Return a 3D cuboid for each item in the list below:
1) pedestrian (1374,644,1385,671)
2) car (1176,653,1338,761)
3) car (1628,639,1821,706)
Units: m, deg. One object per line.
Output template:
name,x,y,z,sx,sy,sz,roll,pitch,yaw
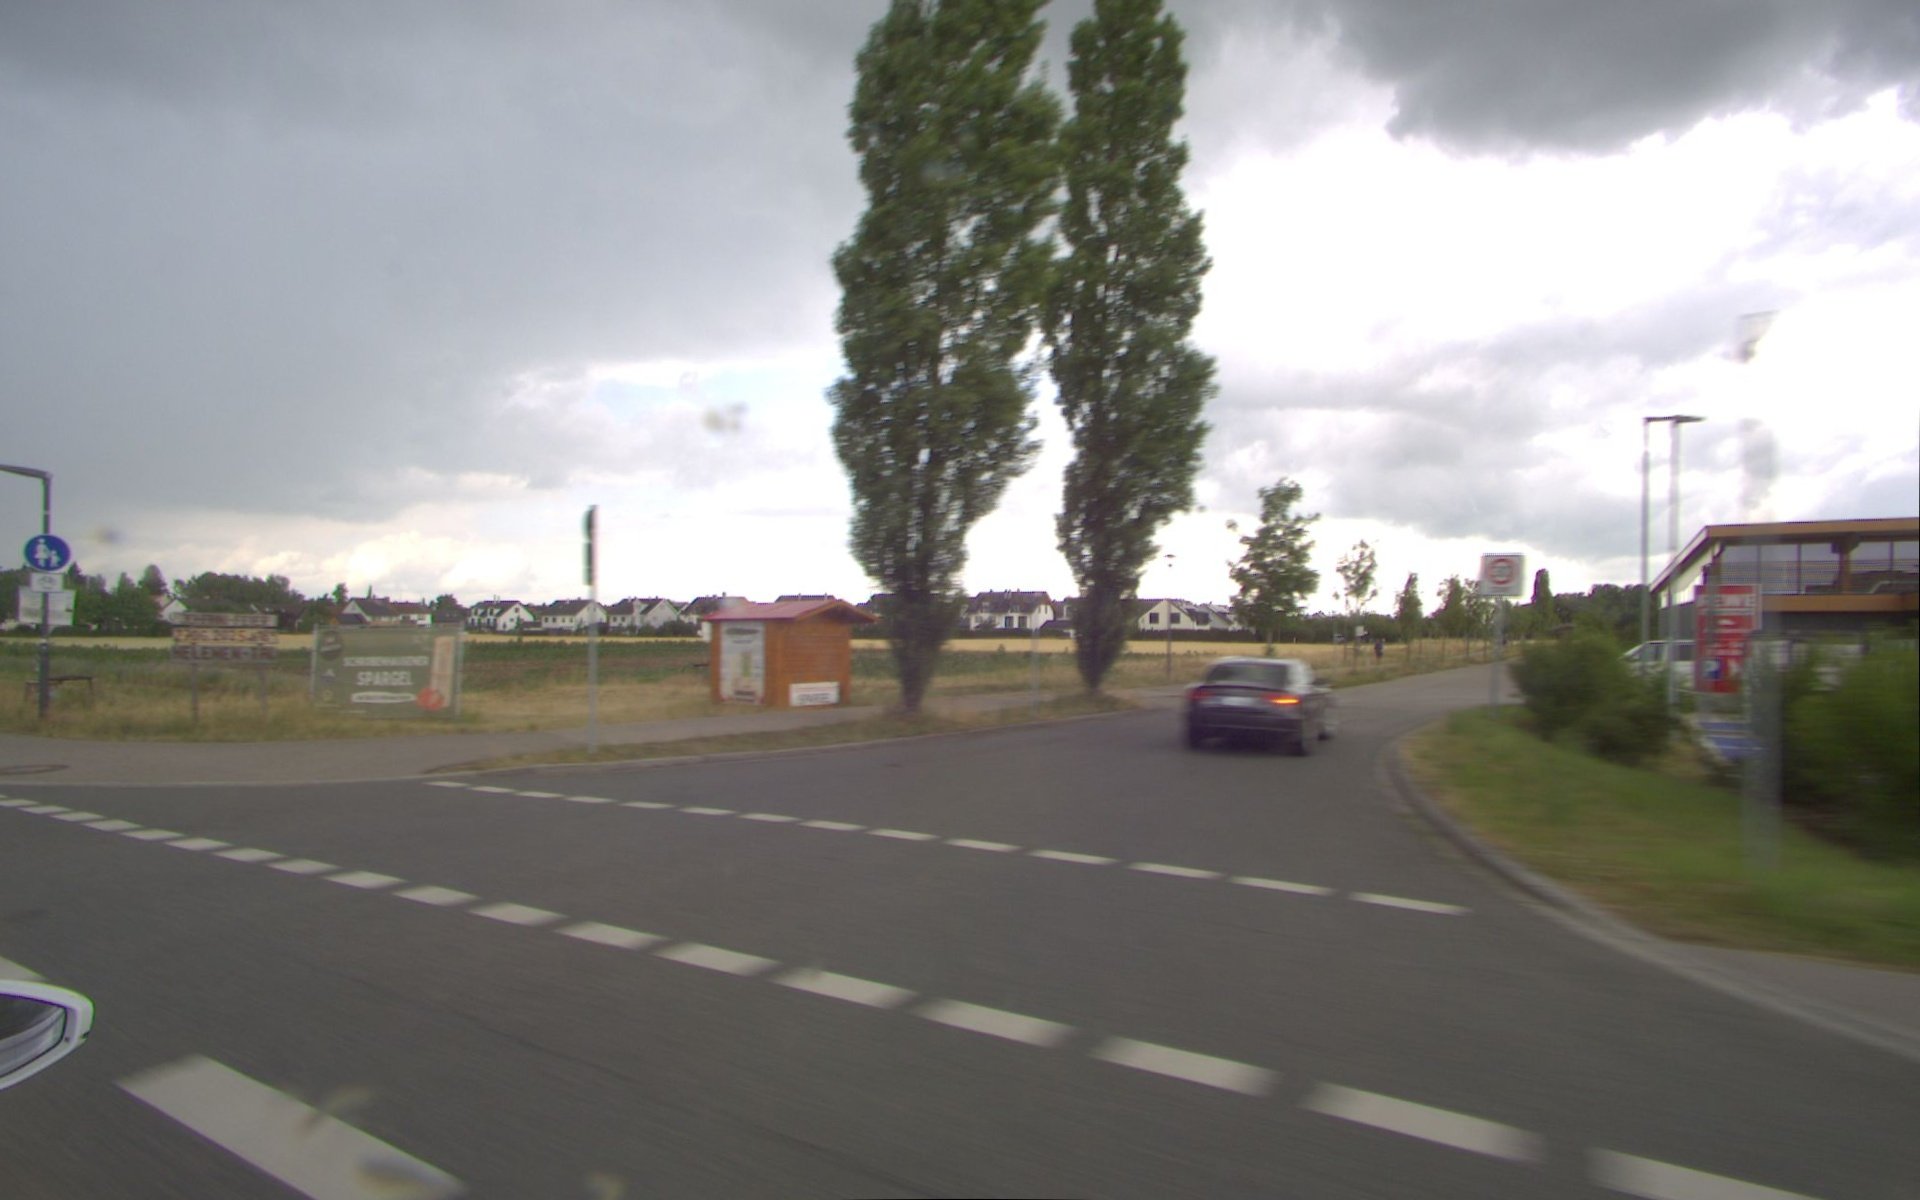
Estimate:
pedestrian,28.258,3.860,67.484,0.591,1.785,0.481,0,1,32
car,4.790,1.558,15.705,1.802,1.406,4.376,0,-3,25
car,26.364,2.440,34.831,5.160,2.040,1.989,0,0,33
